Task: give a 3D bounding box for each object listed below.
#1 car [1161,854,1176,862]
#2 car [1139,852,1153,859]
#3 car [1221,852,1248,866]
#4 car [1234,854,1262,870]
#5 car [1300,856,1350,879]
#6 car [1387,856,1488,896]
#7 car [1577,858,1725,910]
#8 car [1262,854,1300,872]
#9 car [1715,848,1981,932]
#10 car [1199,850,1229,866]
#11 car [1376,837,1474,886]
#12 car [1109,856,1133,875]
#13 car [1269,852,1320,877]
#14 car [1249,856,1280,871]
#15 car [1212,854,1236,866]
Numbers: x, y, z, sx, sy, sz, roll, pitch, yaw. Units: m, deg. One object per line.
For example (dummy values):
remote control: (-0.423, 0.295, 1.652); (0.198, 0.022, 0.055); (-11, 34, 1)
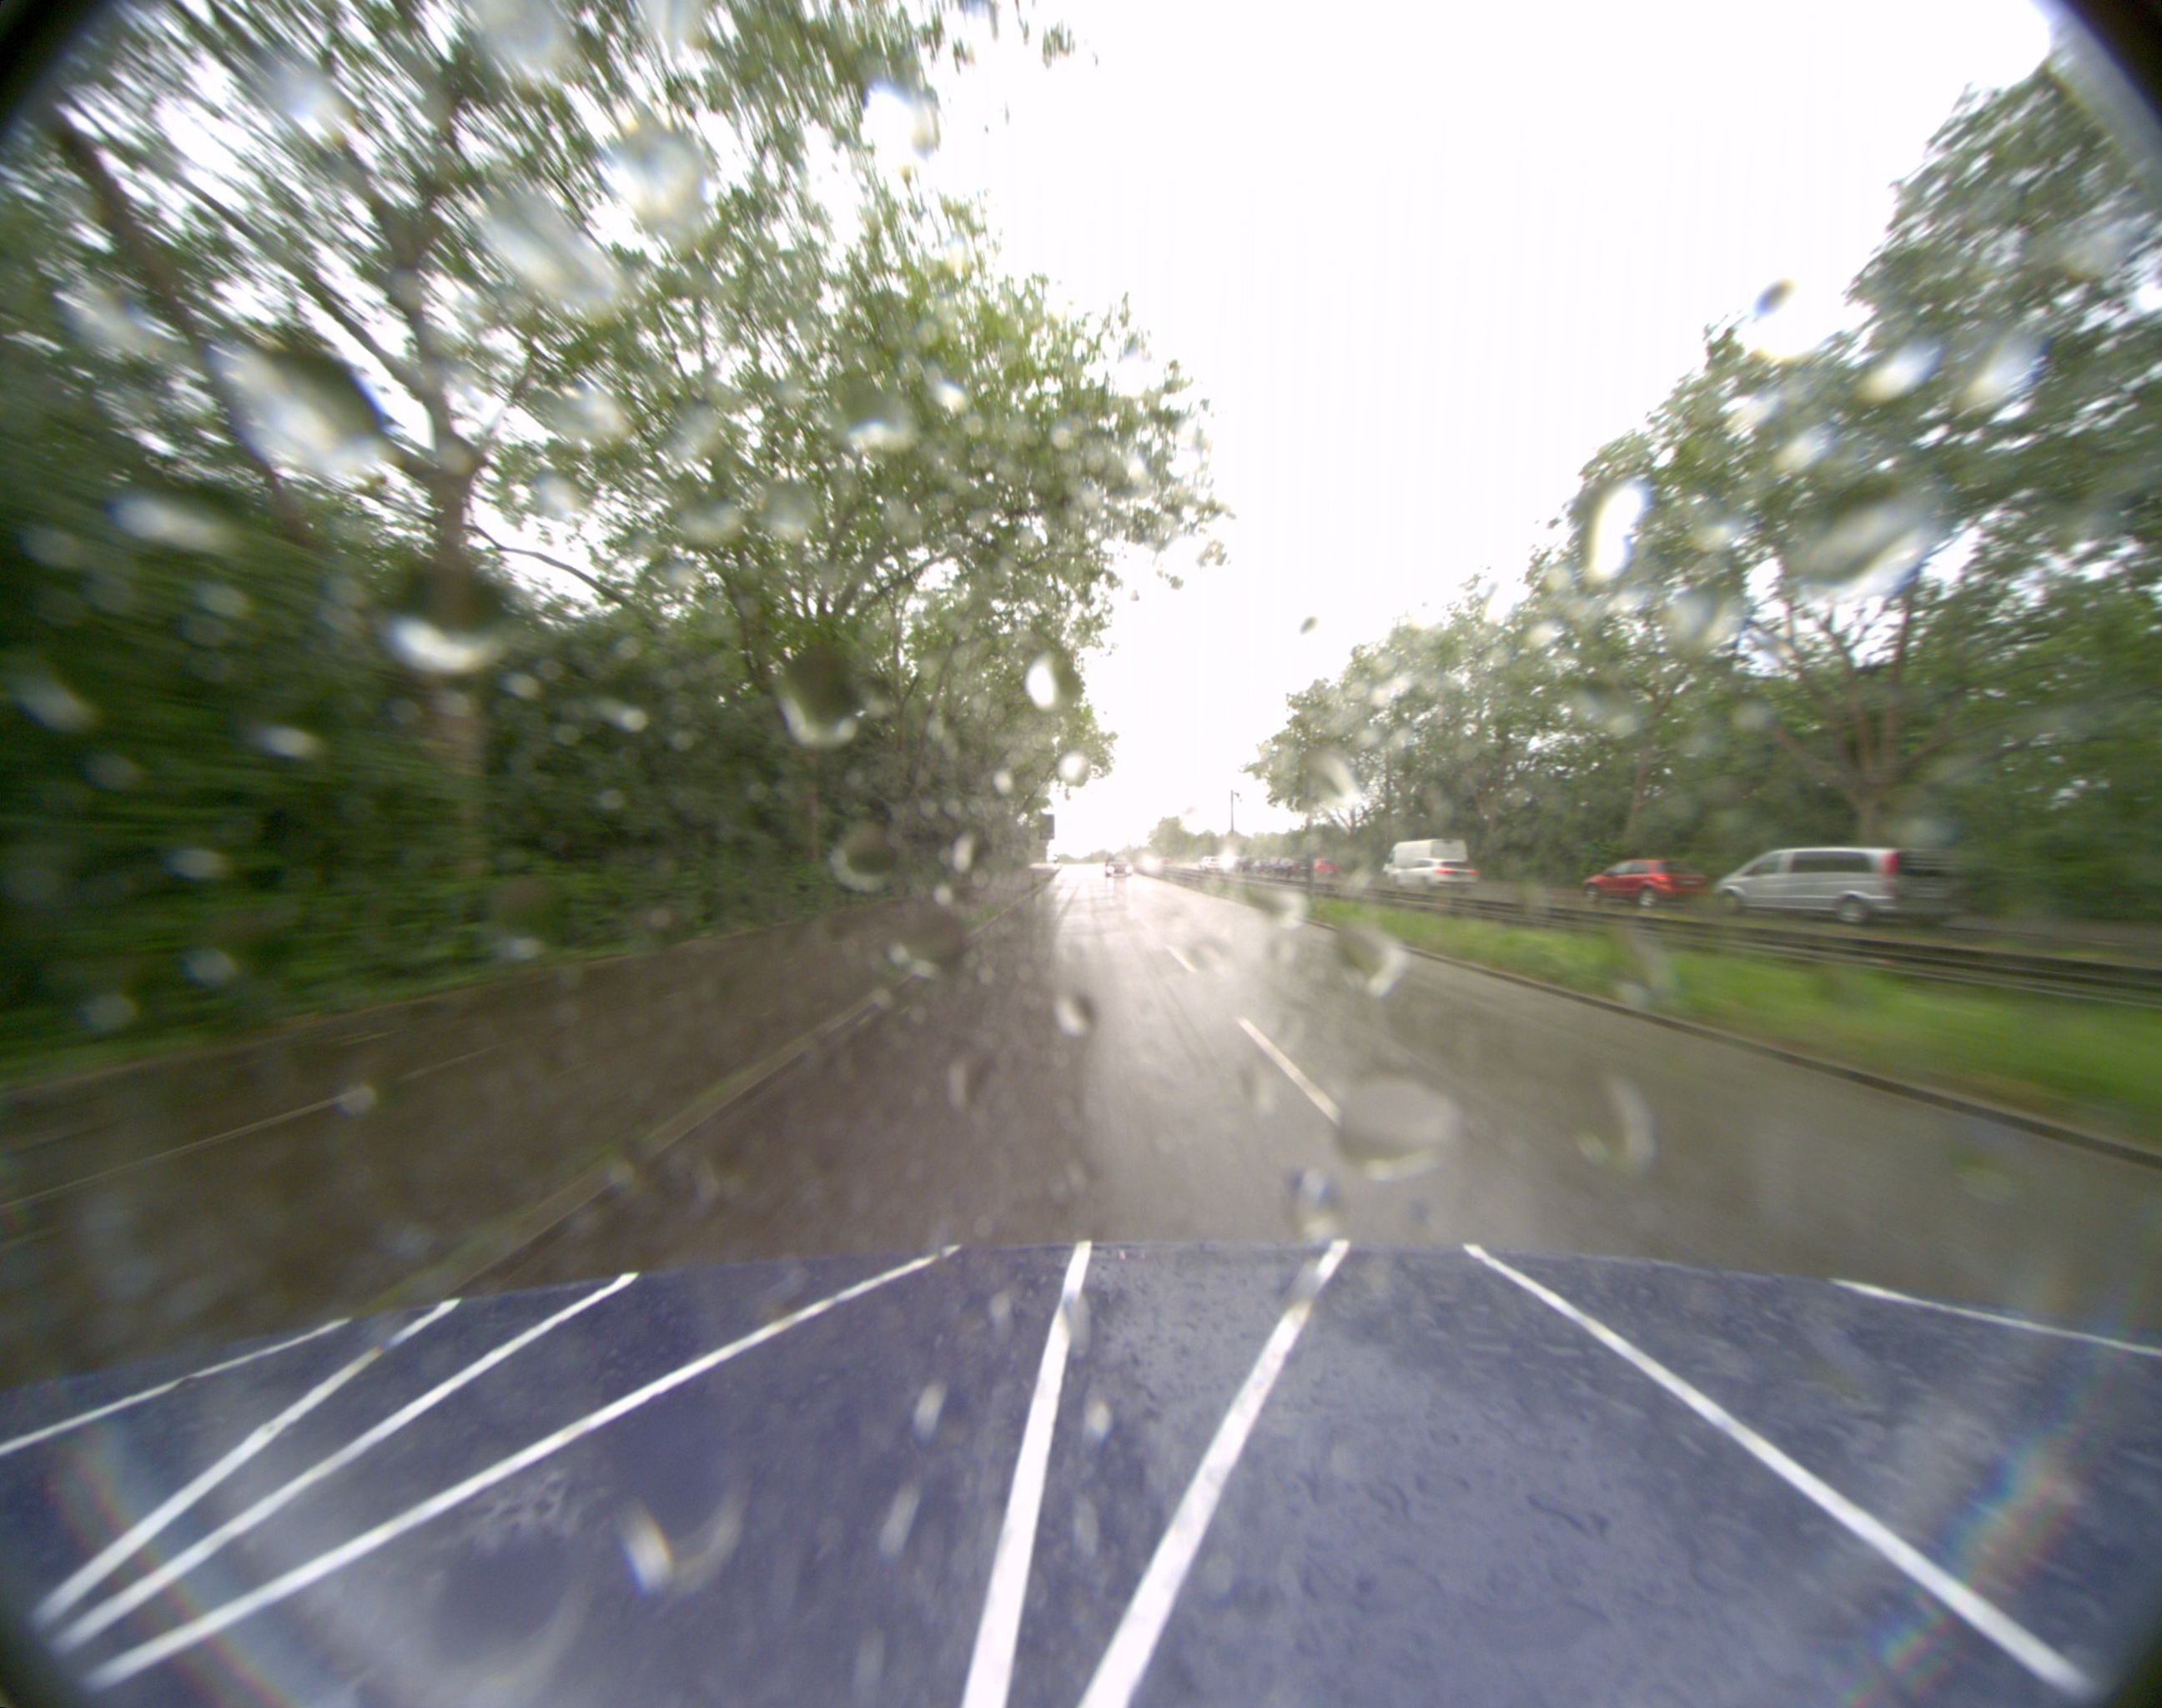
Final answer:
car: (16.424, 0.679, 143.227); (2.039, 1.458, 4.917); (-1, 0, -3)
car: (12.894, 0.250, 150.968); (2.039, 1.458, 4.917); (-1, 0, -3)
car: (17.258, 0.586, 85.520); (1.891, 1.502, 4.577); (1, 0, -2)
car: (17.361, 0.802, 79.165); (1.890, 1.640, 4.368); (1, 0, -2)
car: (18.072, 0.961, 56.494); (2.039, 1.543, 4.383); (1, 0, -3)
car: (15.389, 0.917, 33.150); (1.984, 1.557, 4.767); (1, 0, -2)
car: (18.770, 0.920, 25.282); (1.822, 1.543, 4.024); (1, 0, -1)
car: (17.794, 0.781, 67.756); (2.039, 1.543, 4.383); (1, 0, -3)
car: (19.039, 0.800, 19.261); (1.962, 1.851, 4.639); (1, 0, -1)
car: (13.983, 0.378, 80.128); (2.039, 1.543, 4.995); (1, 0, -3)
car: (18.425, 0.356, 41.153); (2.336, 2.432, 6.137); (1, 1, -2)
car: (3.111, 0.900, 59.552); (1.726, 1.425, 3.851); (0, 0, 1)
car: (14.410, 0.666, 51.591); (2.038, 1.543, 4.565); (1, 0, -1)
car: (17.642, 0.917, 73.150); (1.890, 1.371, 3.964); (1, 0, -2)
car: (17.179, 0.683, 91.449); (1.653, 1.423, 4.130); (1, 0, -6)
